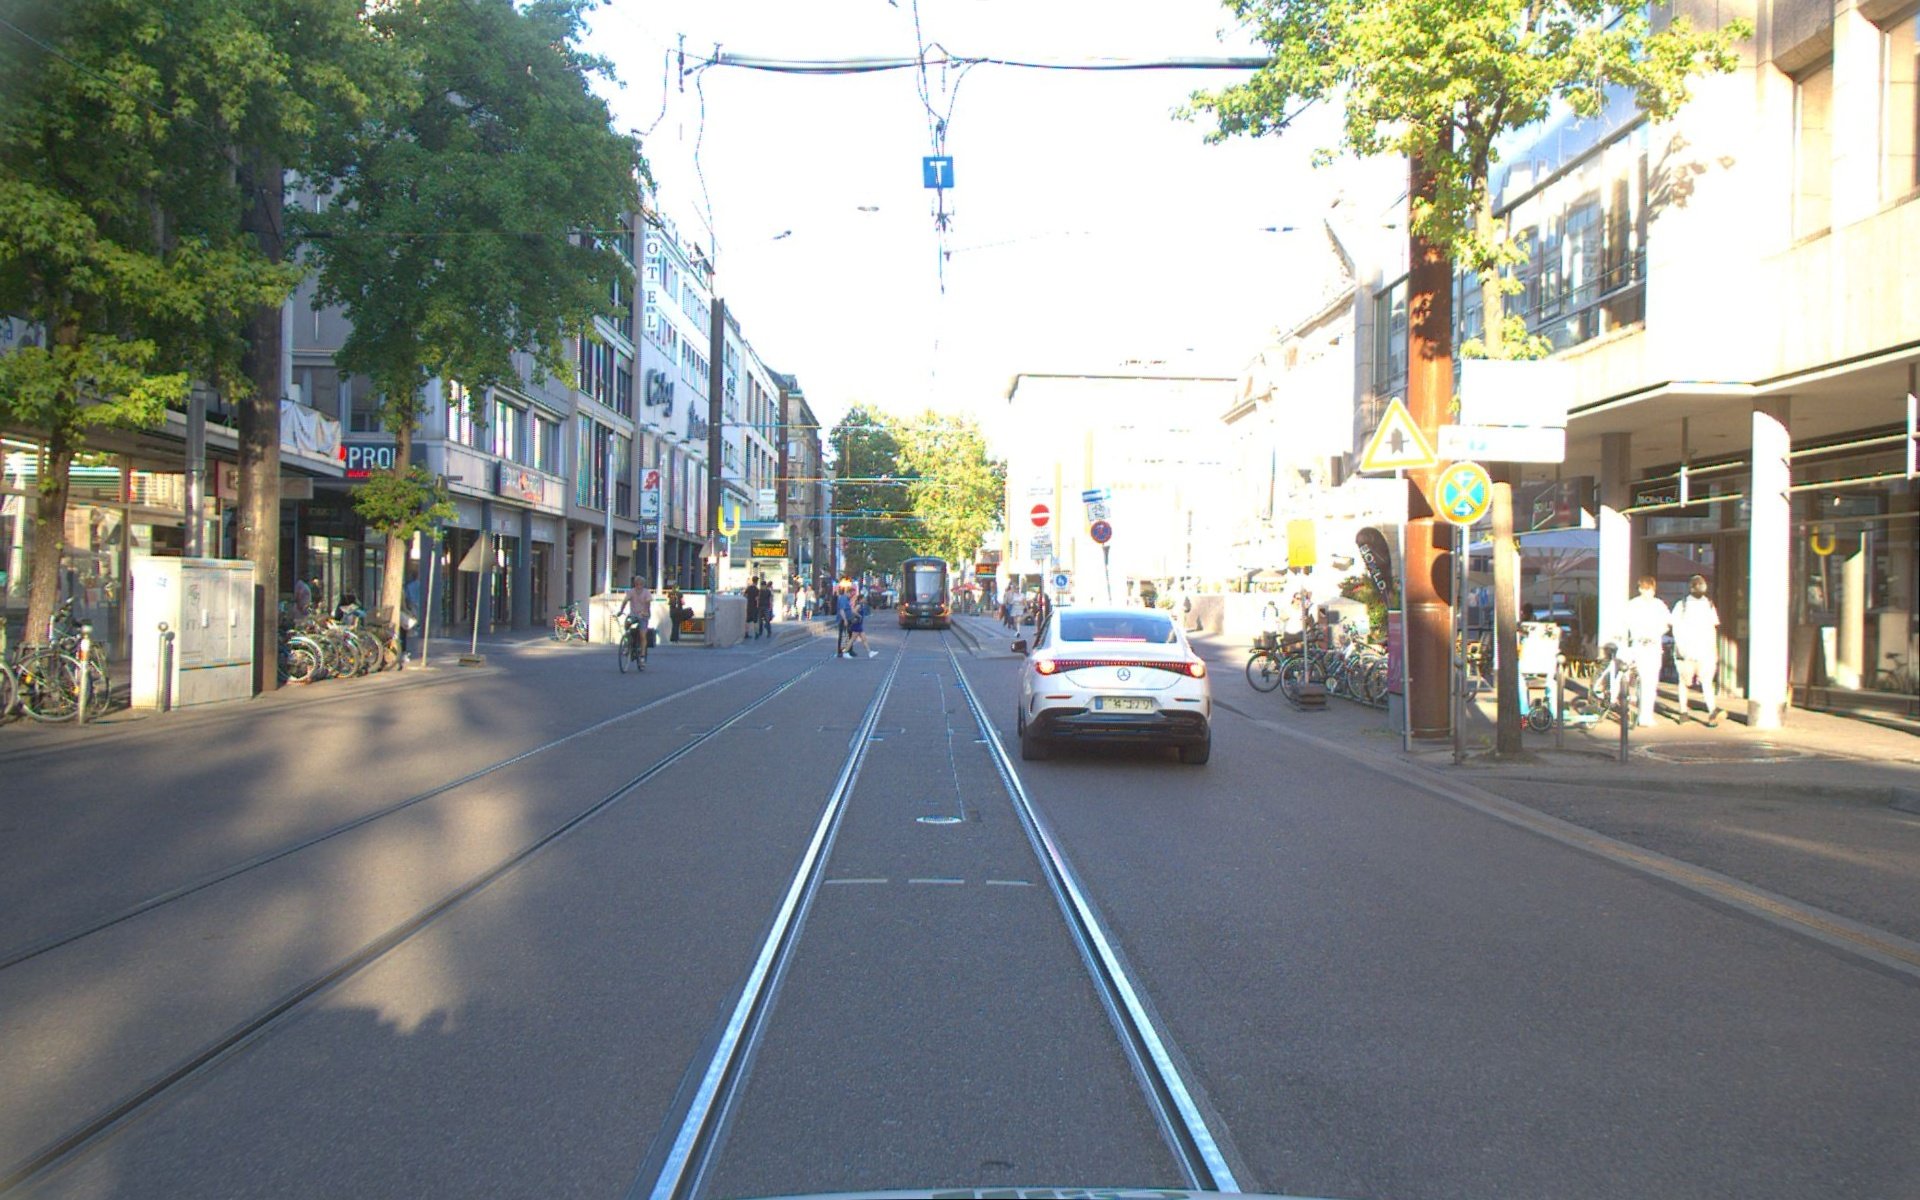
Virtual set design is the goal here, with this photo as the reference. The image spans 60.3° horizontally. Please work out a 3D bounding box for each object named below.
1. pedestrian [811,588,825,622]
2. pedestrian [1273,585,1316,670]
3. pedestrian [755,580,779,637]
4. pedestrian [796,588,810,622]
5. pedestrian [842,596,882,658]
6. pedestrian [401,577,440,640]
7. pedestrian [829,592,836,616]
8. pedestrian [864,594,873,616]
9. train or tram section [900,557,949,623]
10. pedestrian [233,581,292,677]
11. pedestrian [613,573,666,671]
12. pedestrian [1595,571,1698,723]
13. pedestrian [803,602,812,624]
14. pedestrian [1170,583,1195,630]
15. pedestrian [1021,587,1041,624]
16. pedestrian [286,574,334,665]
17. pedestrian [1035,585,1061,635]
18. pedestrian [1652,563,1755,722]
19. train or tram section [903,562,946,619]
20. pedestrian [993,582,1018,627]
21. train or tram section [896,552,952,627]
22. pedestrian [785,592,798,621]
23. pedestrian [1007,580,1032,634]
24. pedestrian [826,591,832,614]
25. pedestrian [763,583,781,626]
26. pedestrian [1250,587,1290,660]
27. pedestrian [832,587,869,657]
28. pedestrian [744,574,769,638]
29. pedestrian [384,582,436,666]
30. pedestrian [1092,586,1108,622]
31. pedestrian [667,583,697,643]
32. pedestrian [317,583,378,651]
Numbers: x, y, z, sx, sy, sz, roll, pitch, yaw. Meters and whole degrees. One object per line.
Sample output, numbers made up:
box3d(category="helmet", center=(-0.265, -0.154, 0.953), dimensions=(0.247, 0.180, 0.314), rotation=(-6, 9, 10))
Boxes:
box3d(category="pedestrian", center=(-6.924, 0.238, 80.493), dimensions=(0.647, 1.627, 0.573), rotation=(1, 0, -3))
box3d(category="pedestrian", center=(7.242, 0.589, 35.865), dimensions=(0.733, 1.816, 0.766), rotation=(-1, 0, -2))
box3d(category="pedestrian", center=(-6.113, 0.260, 52.292), dimensions=(0.538, 1.791, 0.520), rotation=(0, 0, 27))
box3d(category="pedestrian", center=(-7.641, 0.225, 80.397), dimensions=(0.647, 1.627, 0.573), rotation=(1, 0, -3))
box3d(category="pedestrian", center=(-2.442, 0.671, 41.310), dimensions=(0.936, 1.522, 0.944), rotation=(1, 0, -1))
box3d(category="pedestrian", center=(-15.215, 0.241, 46.678), dimensions=(0.806, 1.736, 0.980), rotation=(1, 0, -3))
box3d(category="pedestrian", center=(-8.751, 0.261, 113.433), dimensions=(0.405, 1.658, 0.606), rotation=(0, 0, -1))
box3d(category="pedestrian", center=(-7.071, 0.400, 127.757), dimensions=(0.592, 1.658, 0.531), rotation=(0, 0, -1))
box3d(category="train or tram section", center=(-2.090, -0.577, 97.686), dimensions=(2.640, 3.578, 12.542), rotation=(0, 0, -1))
box3d(category="pedestrian", center=(-13.261, 0.543, 31.463), dimensions=(0.799, 1.792, 0.779), rotation=(1, 0, -4))
box3d(category="pedestrian", center=(-6.103, 0.417, 31.521), dimensions=(0.784, 1.813, 0.848), rotation=(2, 0, -3))
box3d(category="pedestrian", center=(8.353, 0.565, 20.145), dimensions=(0.881, 1.775, 0.689), rotation=(-3, 0, -2))
box3d(category="pedestrian", center=(-11.523, 1.011, 125.135), dimensions=(0.594, 1.658, 0.413), rotation=(0, 0, -17))
box3d(category="pedestrian", center=(8.282, 0.232, 61.604), dimensions=(0.801, 1.714, 0.803), rotation=(-1, 0, -2))
box3d(category="pedestrian", center=(3.504, 0.281, 81.791), dimensions=(0.941, 1.816, 0.803), rotation=(-1, 0, -2))
box3d(category="pedestrian", center=(-13.054, 0.378, 33.227), dimensions=(0.718, 1.792, 0.808), rotation=(1, 0, -36))
box3d(category="pedestrian", center=(2.986, 0.326, 56.263), dimensions=(0.820, 1.691, 0.785), rotation=(1, 0, 1))
box3d(category="pedestrian", center=(8.961, 0.497, 19.965), dimensions=(0.687, 1.844, 1.033), rotation=(-3, 0, -2))
box3d(category="train or tram section", center=(-2.333, -0.617, 109.522), dimensions=(2.640, 3.578, 11.140), rotation=(0, 0, -1))
box3d(category="pedestrian", center=(1.839, 0.177, 66.622), dimensions=(0.941, 1.816, 0.803), rotation=(-1, 0, -2))
box3d(category="train or tram section", center=(-1.839, -0.529, 85.138), dimensions=(2.640, 3.578, 12.542), rotation=(0, 0, -1))
box3d(category="pedestrian", center=(-9.224, 0.357, 90.686), dimensions=(0.647, 1.627, 0.573), rotation=(1, 0, -3))
box3d(category="pedestrian", center=(1.917, 0.219, 53.527), dimensions=(0.731, 1.728, 0.840), rotation=(1, 0, -4))
box3d(category="pedestrian", center=(-9.469, 0.211, 119.714), dimensions=(0.405, 1.658, 0.606), rotation=(0, 0, -1))
box3d(category="pedestrian", center=(-6.913, 0.176, 60.689), dimensions=(0.603, 1.572, 0.650), rotation=(1, 0, -4))
box3d(category="pedestrian", center=(7.909, 0.592, 42.199), dimensions=(0.824, 1.816, 0.803), rotation=(-1, 0, -2))
box3d(category="pedestrian", center=(-2.774, 0.550, 41.989), dimensions=(0.886, 1.728, 0.848), rotation=(1, 0, -1))
box3d(category="pedestrian", center=(-6.326, 0.184, 51.365), dimensions=(0.531, 1.963, 0.569), rotation=(0, 0, 42))
box3d(category="pedestrian", center=(-10.910, 0.469, 32.821), dimensions=(0.734, 1.651, 0.980), rotation=(1, 0, -4))
box3d(category="pedestrian", center=(7.172, 0.201, 84.867), dimensions=(0.712, 1.817, 0.707), rotation=(1, 0, -2))
box3d(category="pedestrian", center=(-8.095, 0.376, 48.122), dimensions=(0.767, 1.747, 0.840), rotation=(1, 0, -4))
box3d(category="pedestrian", center=(-14.626, 0.406, 39.484), dimensions=(0.961, 1.589, 1.010), rotation=(1, 0, 38))
